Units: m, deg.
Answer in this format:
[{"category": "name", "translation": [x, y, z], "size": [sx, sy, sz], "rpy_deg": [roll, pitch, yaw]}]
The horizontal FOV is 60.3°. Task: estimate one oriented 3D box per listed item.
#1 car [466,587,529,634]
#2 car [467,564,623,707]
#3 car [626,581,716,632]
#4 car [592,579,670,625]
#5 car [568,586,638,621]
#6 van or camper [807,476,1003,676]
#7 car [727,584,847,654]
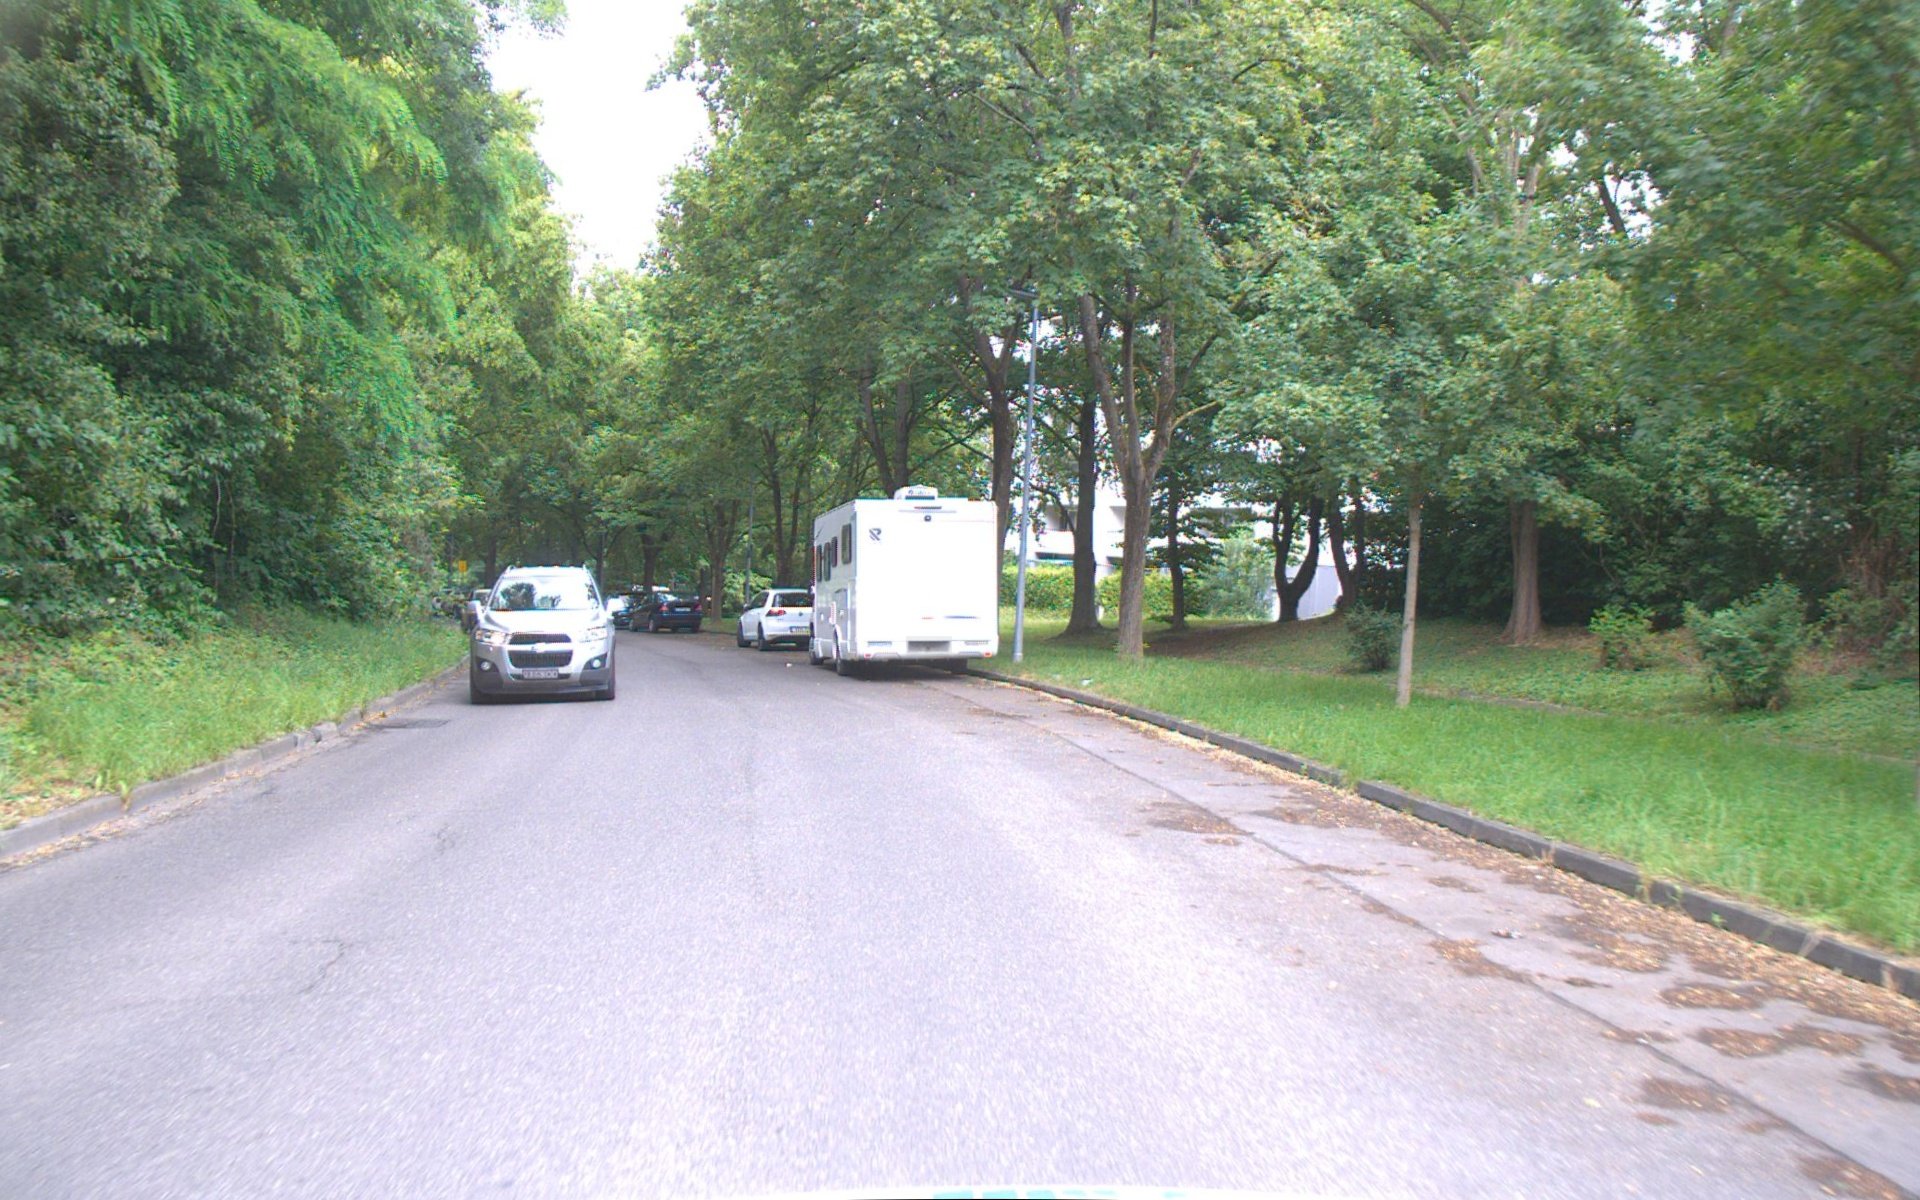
[{"category": "car", "translation": [-15.548, 0.328, 55.461], "size": [1.785, 1.492, 3.978], "rpy_deg": [-1, 1, -19]}, {"category": "car", "translation": [-5.550, 0.381, 22.575], "size": [1.825, 1.692, 4.558], "rpy_deg": [-1, 2, -12]}, {"category": "car", "translation": [-9.915, 0.194, 56.526], "size": [1.969, 1.526, 3.968], "rpy_deg": [2, 1, -26]}, {"category": "car", "translation": [-12.387, 0.048, 62.077], "size": [1.969, 1.641, 3.968], "rpy_deg": [0, 1, -25]}, {"category": "car", "translation": [-14.316, 0.116, 66.150], "size": [1.968, 1.345, 3.970], "rpy_deg": [-1, 1, -24]}, {"category": "van or camper", "translation": [-1.066, -0.446, 28.111], "size": [2.387, 3.059, 5.192], "rpy_deg": [0, 2, -13]}, {"category": "car", "translation": [-4.337, 0.435, 40.928], "size": [1.965, 1.498, 3.976], "rpy_deg": [3, 1, -21]}]
